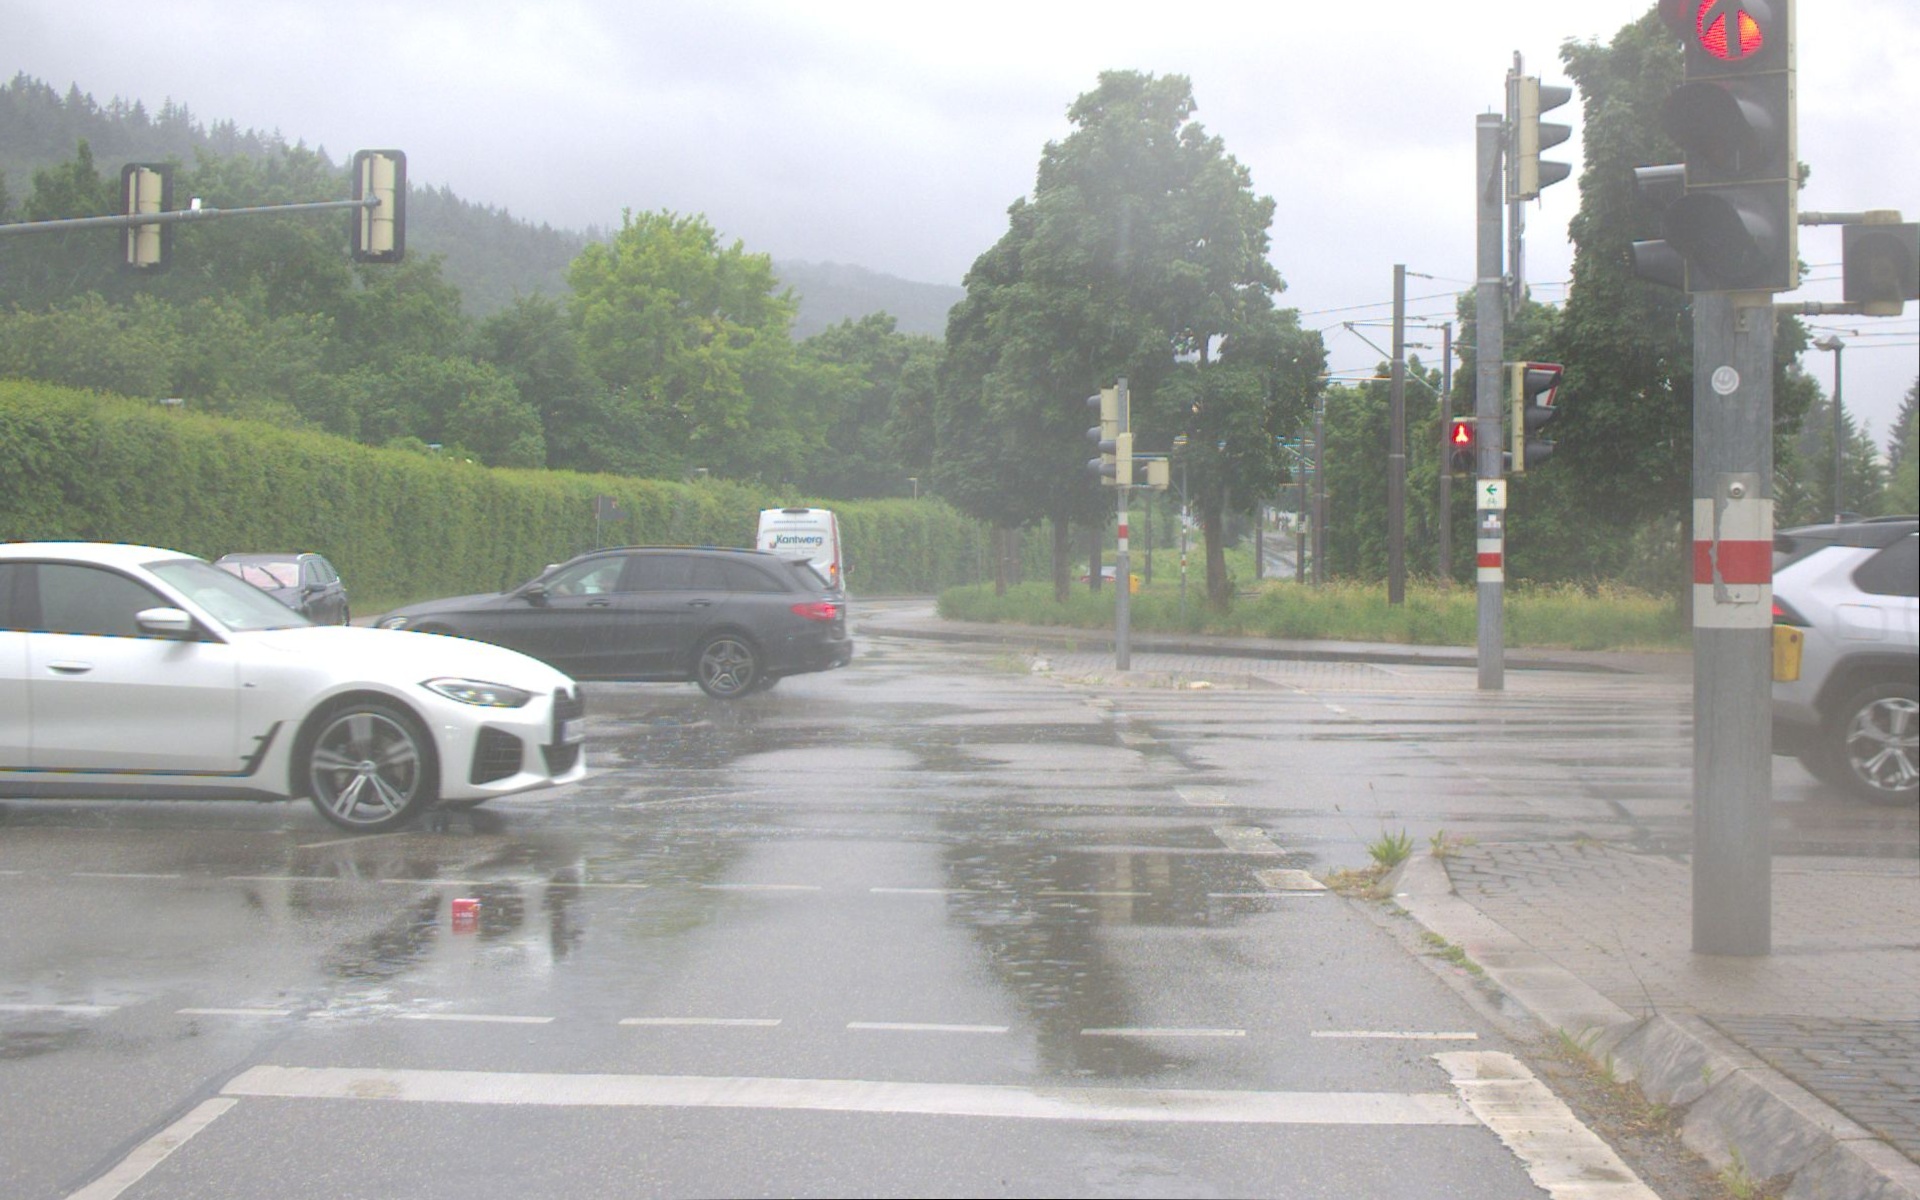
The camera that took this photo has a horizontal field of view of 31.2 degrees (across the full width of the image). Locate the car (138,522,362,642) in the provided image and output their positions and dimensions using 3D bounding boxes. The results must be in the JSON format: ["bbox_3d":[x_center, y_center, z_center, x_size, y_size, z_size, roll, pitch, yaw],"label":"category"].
[{"bbox_3d":[-10.010,-0.290,48.816,1.879,1.568,4.644,-2,1,4],"label":"car"}]

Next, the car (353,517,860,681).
[{"bbox_3d":[-3.390,-0.032,33.499,4.670,1.548,1.822,0,1,4],"label":"car"}]

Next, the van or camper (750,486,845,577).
[{"bbox_3d":[-3.975,-1.713,84.976,2.153,2.161,4.865,0,1,-1],"label":"van or camper"}]

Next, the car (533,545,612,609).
[{"bbox_3d":[-9.385,-0.576,83.399,1.558,1.476,3.361,0,1,-1],"label":"car"}]

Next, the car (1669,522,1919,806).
[{"bbox_3d":[6.572,0.379,20.251,4.528,1.574,1.912,1,1,8],"label":"car"}]

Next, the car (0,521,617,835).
[{"bbox_3d":[-4.410,0.361,18.171,4.883,1.548,1.799,0,1,8],"label":"car"}]
